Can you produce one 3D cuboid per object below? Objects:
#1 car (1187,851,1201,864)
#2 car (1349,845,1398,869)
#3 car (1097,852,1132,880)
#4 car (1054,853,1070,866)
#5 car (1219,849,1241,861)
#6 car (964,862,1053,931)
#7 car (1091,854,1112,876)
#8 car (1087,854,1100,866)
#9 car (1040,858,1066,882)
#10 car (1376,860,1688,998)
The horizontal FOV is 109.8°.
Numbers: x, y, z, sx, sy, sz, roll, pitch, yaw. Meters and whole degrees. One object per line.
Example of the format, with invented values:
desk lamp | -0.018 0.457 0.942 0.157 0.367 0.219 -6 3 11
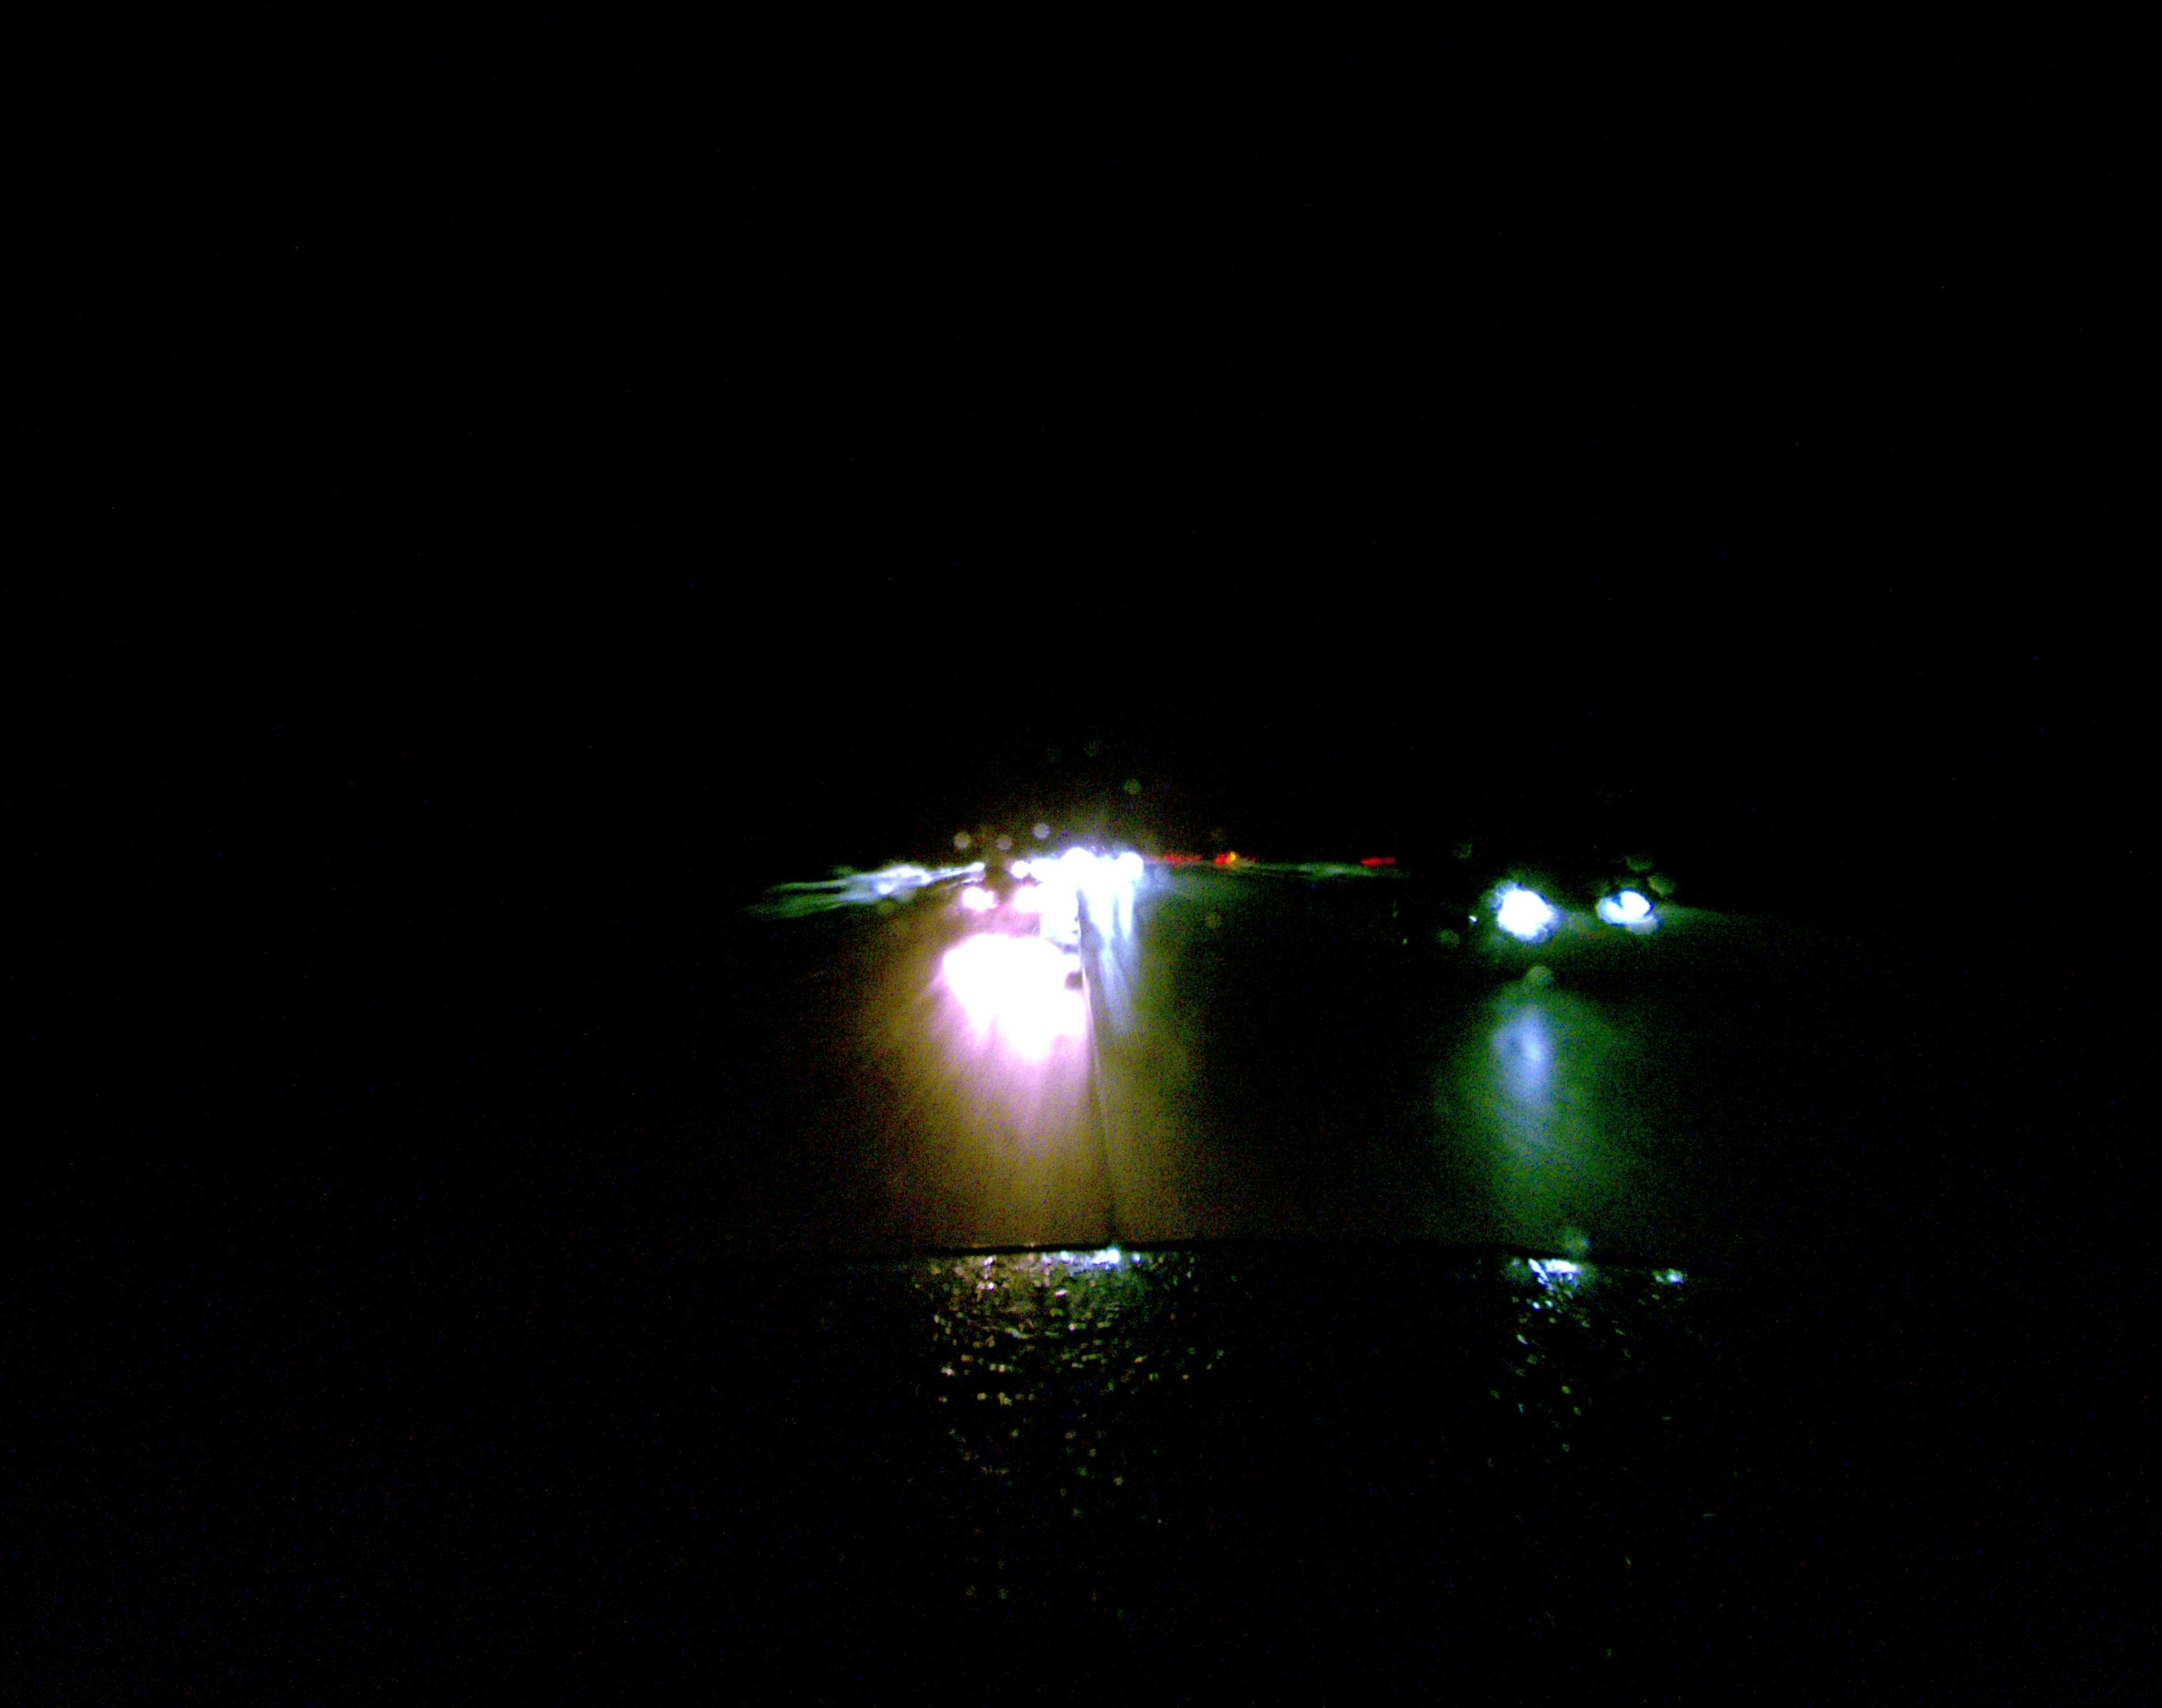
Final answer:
car | 21.746 0.599 146.240 1.974 2.387 4.844 -2 1 1
car | 22.003 0.173 57.333 1.999 1.663 4.345 -2 0 -1
car | 2.057 0.742 48.357 1.960 1.655 4.915 -2 0 0
car | -2.669 0.780 107.538 1.998 1.589 4.653 -2 0 2
car | 18.994 0.106 97.216 1.811 1.509 4.348 -2 0 -1
car | -1.723 0.985 19.255 1.774 1.449 4.195 -2 0 0
car | 1.757 0.894 65.785 1.611 1.775 3.910 -2 1 0
car | 1.739 0.897 109.902 1.755 1.563 3.999 -2 0 0
car | -2.080 1.184 57.818 1.792 1.681 3.999 -2 1 0
car | 5.710 0.824 10.347 1.661 1.422 4.246 -2 0 -1
